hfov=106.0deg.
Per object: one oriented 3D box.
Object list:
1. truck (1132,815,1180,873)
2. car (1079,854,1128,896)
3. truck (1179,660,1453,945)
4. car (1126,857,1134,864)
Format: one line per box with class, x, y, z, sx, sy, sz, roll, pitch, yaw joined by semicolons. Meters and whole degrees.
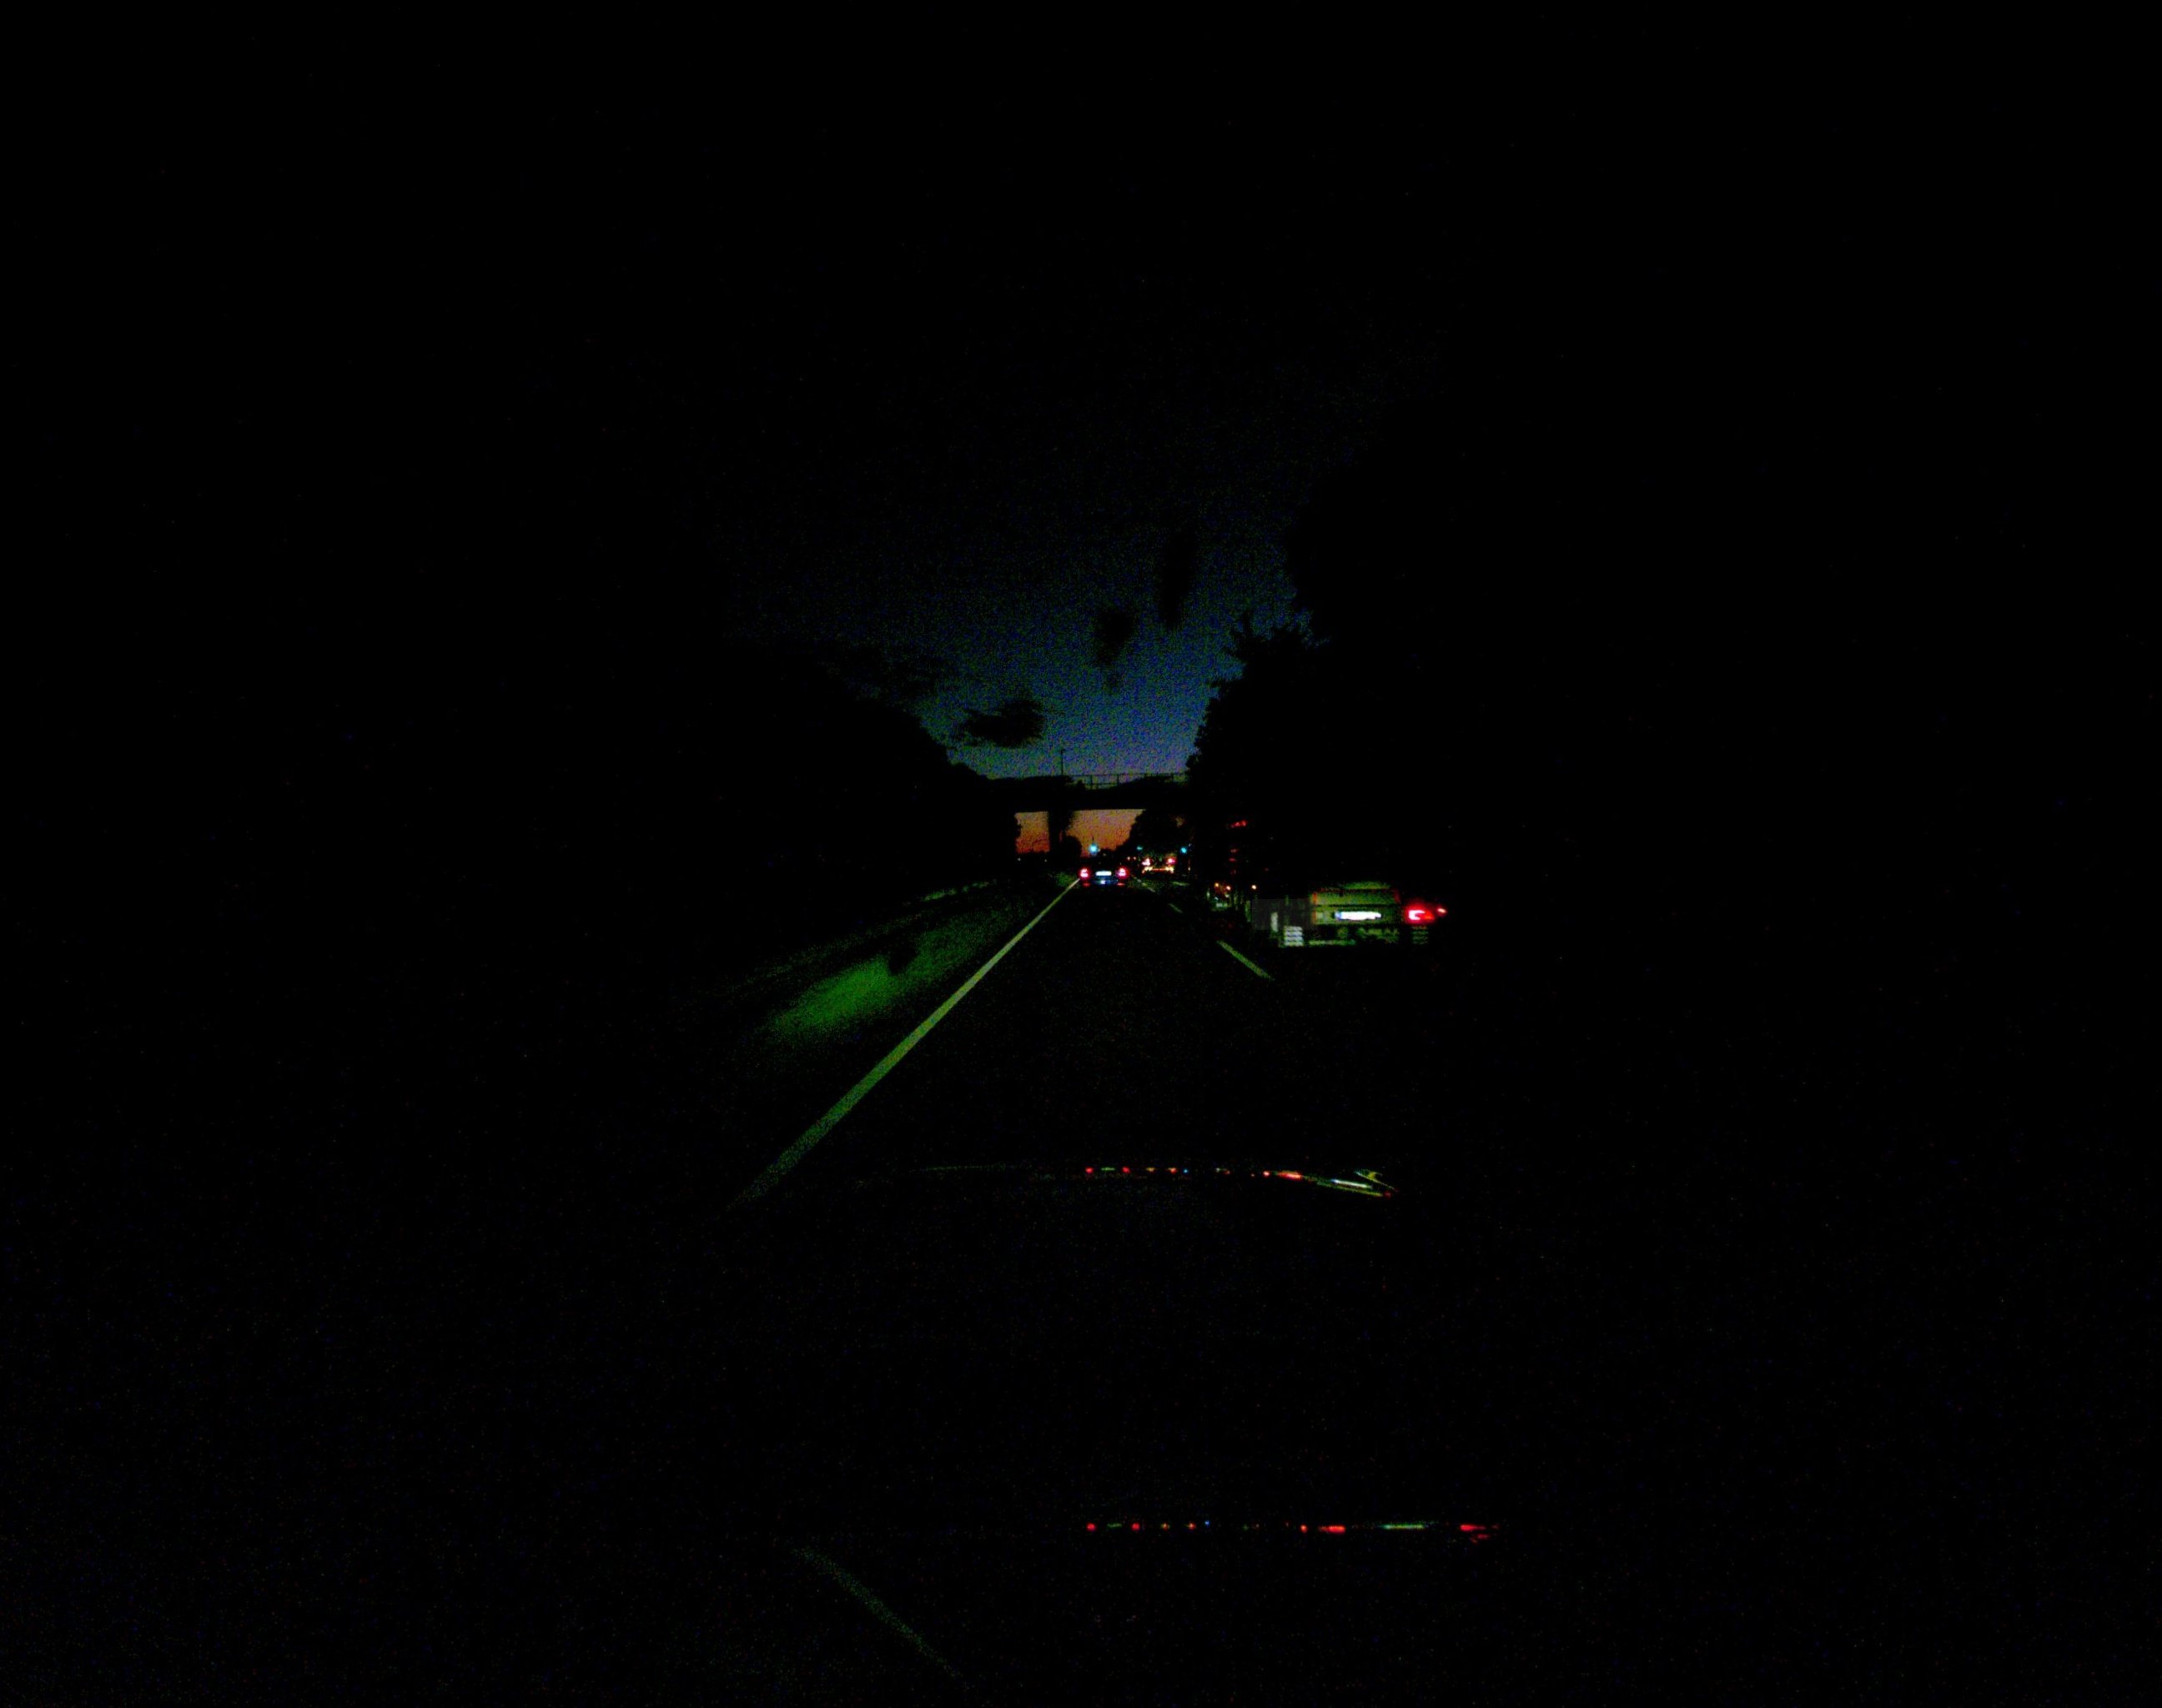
truck;5.731;-0.645;64.377;2.872;4.106;12.686;0;0;1
car;0.829;0.731;30.144;1.689;1.452;3.915;0;0;1
truck;4.183;-0.699;18.361;2.677;4.106;13.144;0;0;1
car;10.271;1.266;170.962;1.689;1.452;3.915;0;0;1
